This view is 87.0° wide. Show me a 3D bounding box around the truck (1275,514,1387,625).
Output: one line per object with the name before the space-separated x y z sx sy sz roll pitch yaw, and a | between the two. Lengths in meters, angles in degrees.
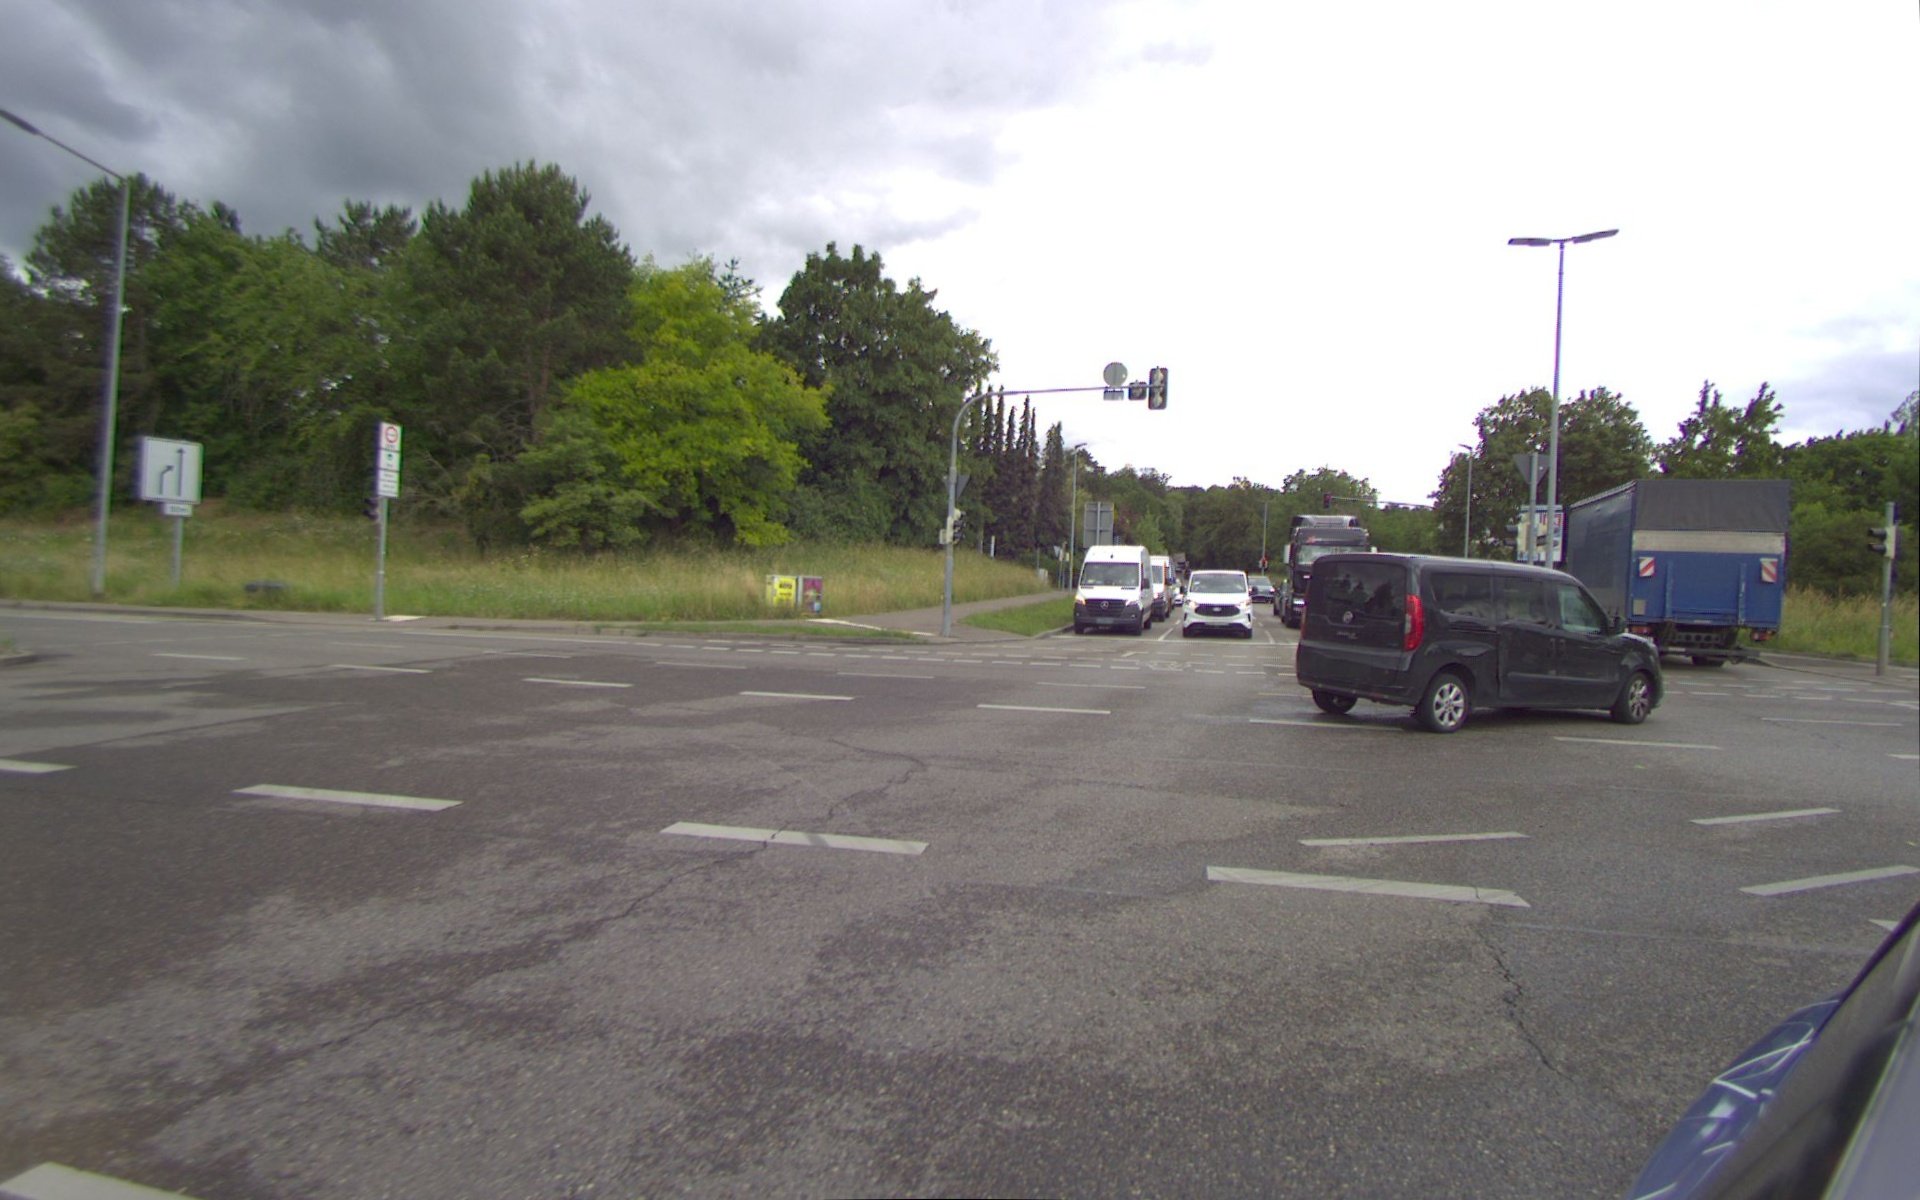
truck | 12.924 -1.078 35.780 3.030 3.561 5.935 1 1 14

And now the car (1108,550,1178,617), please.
car | 7.299 -0.676 39.905 2.197 2.416 5.932 1 1 15

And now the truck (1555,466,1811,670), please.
truck | 16.212 -0.696 23.476 2.755 3.851 8.328 2 1 22

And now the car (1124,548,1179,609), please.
car | 9.323 -1.040 48.873 2.196 2.754 6.657 1 1 14

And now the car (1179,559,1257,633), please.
car | 7.723 -0.154 30.338 2.090 2.015 4.966 0 1 14

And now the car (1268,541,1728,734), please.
car | 6.218 0.378 11.740 4.788 1.900 2.005 1 1 -21

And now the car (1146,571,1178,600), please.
car | 11.081 -0.798 55.405 1.627 1.474 3.852 2 1 13

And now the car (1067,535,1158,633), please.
car | 4.827 -0.521 31.232 2.195 2.691 5.935 1 1 14
